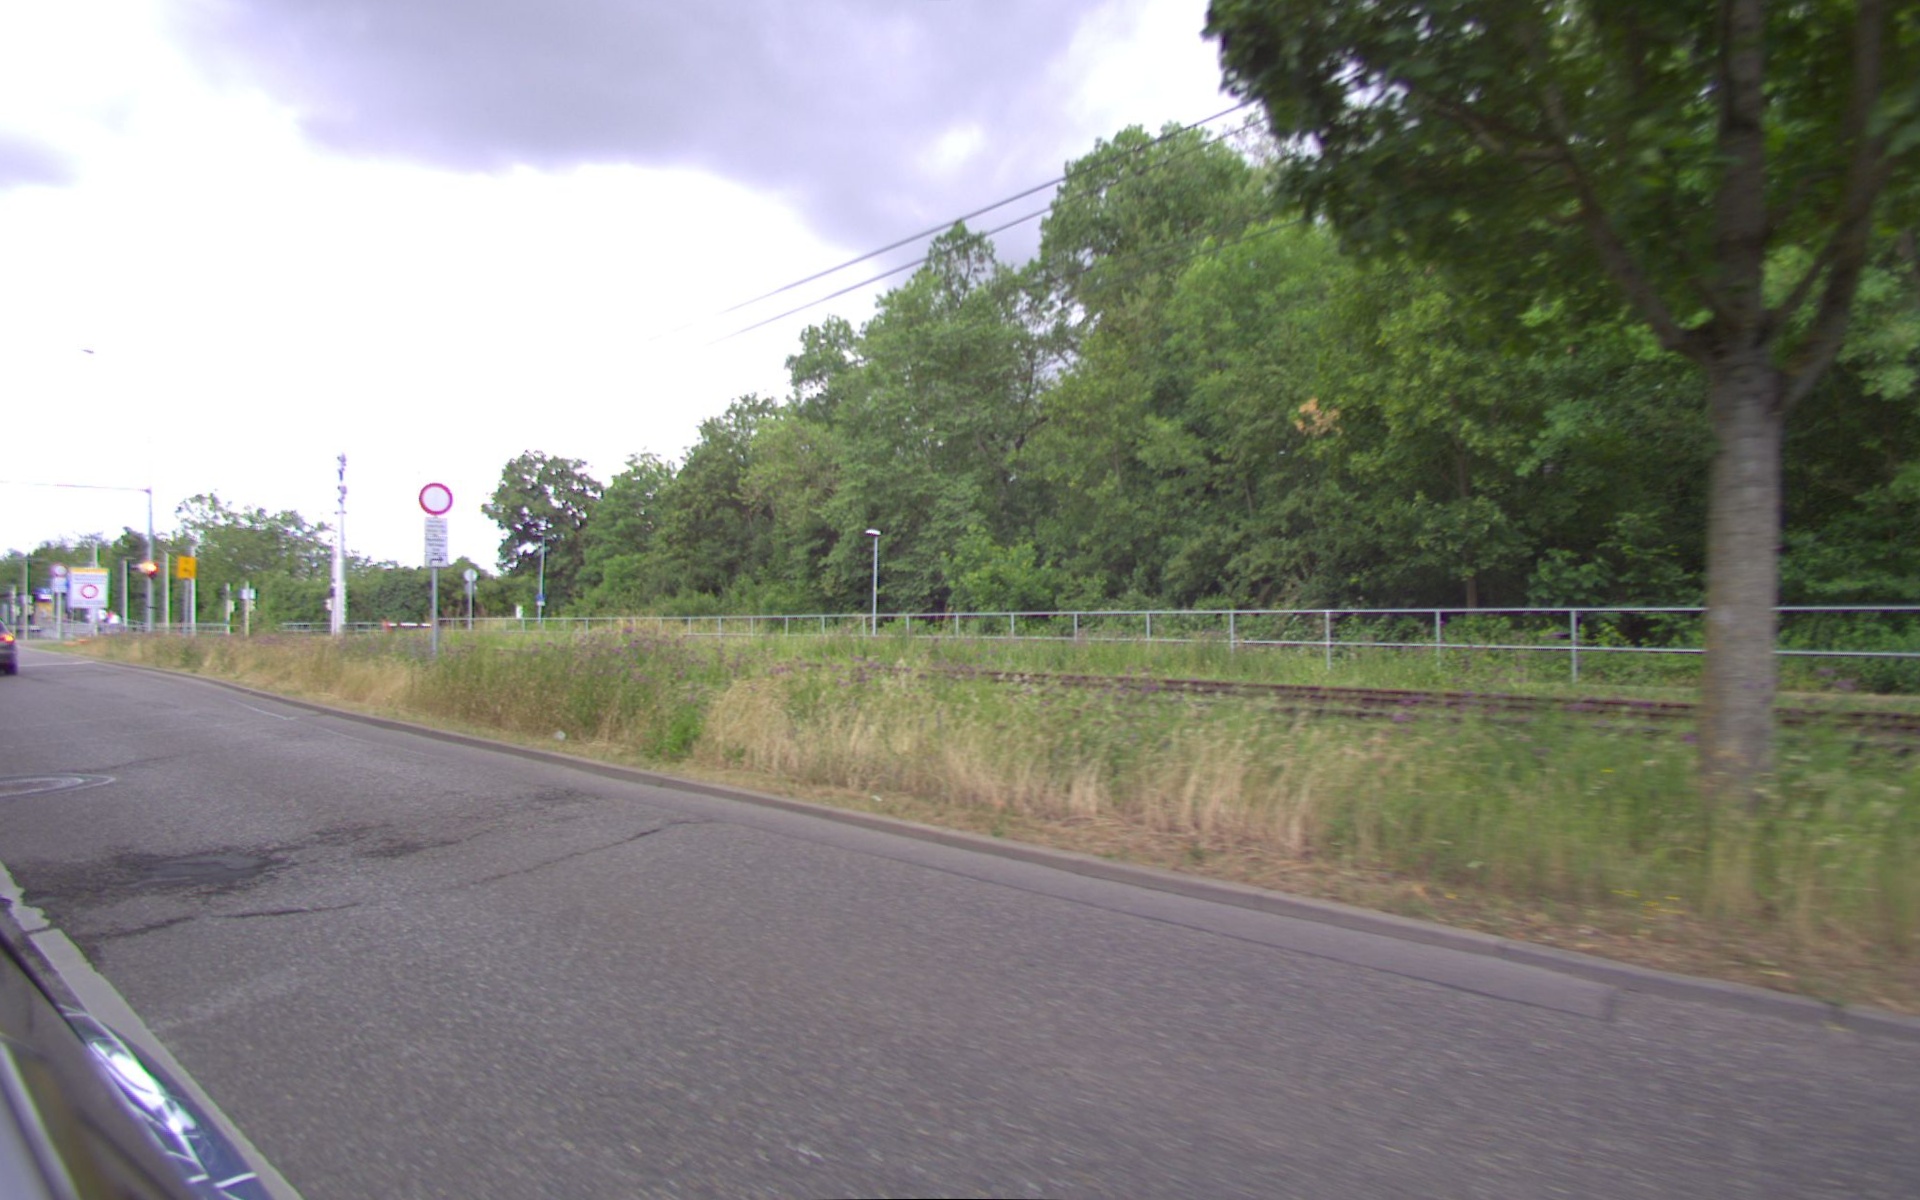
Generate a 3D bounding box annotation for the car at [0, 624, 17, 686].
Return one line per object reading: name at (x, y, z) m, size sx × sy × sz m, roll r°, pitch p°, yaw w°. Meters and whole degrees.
car at (-24.862, 1.363, 24.981) m, size 4.424 × 1.445 × 1.738 m, roll -1°, pitch 1°, yaw 40°
